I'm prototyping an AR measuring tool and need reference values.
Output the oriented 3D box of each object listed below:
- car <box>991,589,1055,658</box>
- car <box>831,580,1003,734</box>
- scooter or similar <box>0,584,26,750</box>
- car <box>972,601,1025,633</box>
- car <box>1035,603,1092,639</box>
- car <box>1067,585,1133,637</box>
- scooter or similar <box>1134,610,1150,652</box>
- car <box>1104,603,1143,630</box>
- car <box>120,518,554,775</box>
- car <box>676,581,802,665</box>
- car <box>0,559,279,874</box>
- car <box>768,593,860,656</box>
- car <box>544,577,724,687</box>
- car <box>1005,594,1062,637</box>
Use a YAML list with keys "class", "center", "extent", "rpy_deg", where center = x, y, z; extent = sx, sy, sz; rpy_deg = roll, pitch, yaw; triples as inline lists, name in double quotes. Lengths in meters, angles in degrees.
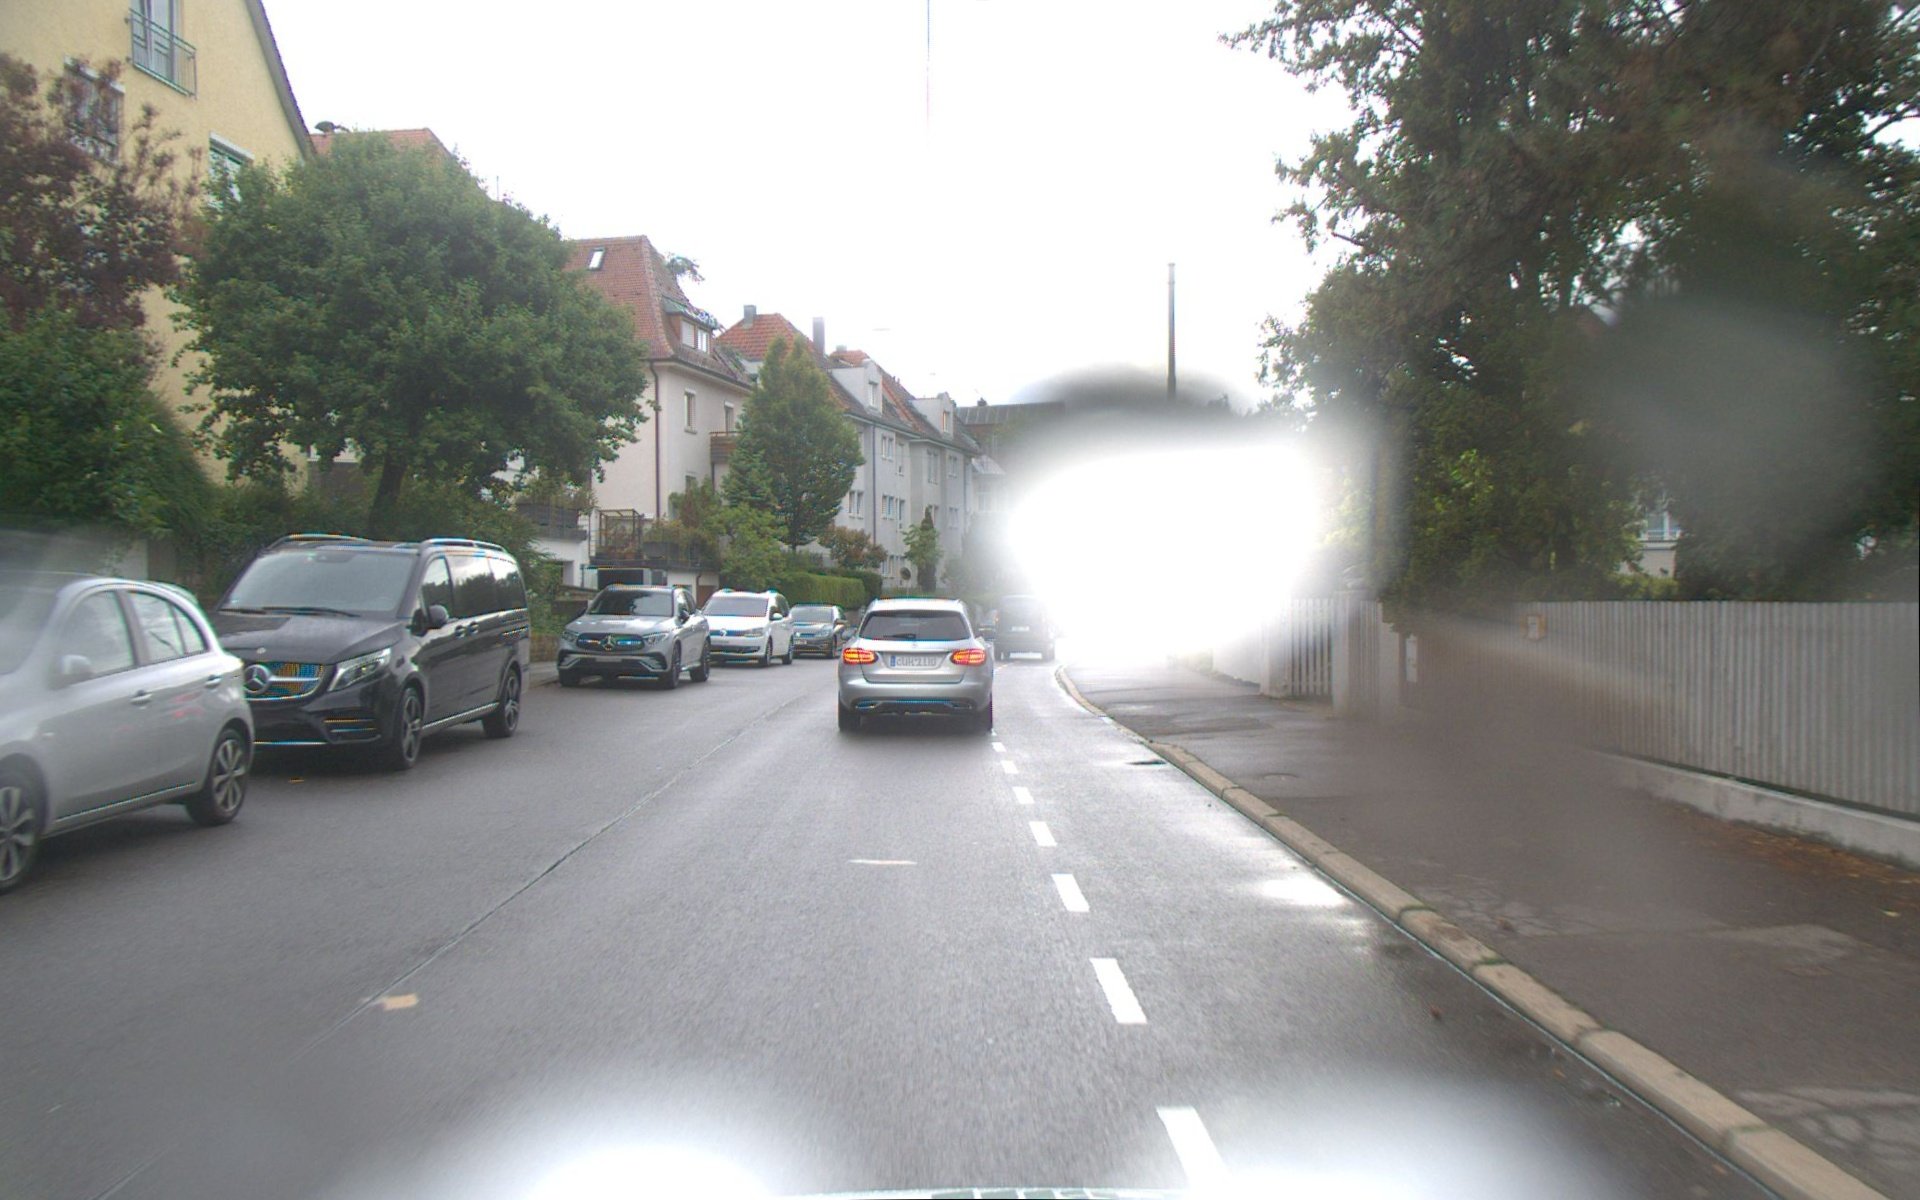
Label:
- class: "car"
  center: [1.913, 0.693, 49.195]
  extent: [1.804, 1.937, 4.001]
  rpy_deg: [1, -1, 3]
- class: "car"
  center: [-0.478, 0.584, 19.437]
  extent: [1.779, 1.584, 3.999]
  rpy_deg: [1, 0, -1]
- class: "scooter or similar"
  center: [-7.656, 0.543, 12.187]
  extent: [0.490, 1.277, 1.918]
  rpy_deg: [1, 2, -1]
- class: "car"
  center: [1.852, 0.781, 78.349]
  extent: [1.608, 1.442, 4.616]
  rpy_deg: [1, 0, 13]
- class: "car"
  center: [5.688, 1.129, 90.527]
  extent: [1.952, 1.717, 4.679]
  rpy_deg: [1, 2, 19]
- class: "car"
  center: [8.332, 0.588, 97.854]
  extent: [2.341, 2.820, 6.535]
  rpy_deg: [1, 1, 19]
- class: "scooter or similar"
  center: [5.801, 0.986, 52.658]
  extent: [0.440, 1.330, 1.483]
  rpy_deg: [-1, -1, 8]
- class: "car"
  center: [10.178, 1.017, 102.975]
  extent: [1.677, 1.472, 3.256]
  rpy_deg: [1, 2, 19]
- class: "car"
  center: [-5.414, 0.340, 15.300]
  extent: [1.953, 1.911, 5.356]
  rpy_deg: [1, 0, 0]
- class: "car"
  center: [-5.018, 0.495, 38.191]
  extent: [1.952, 1.732, 4.740]
  rpy_deg: [3, 0, 3]
- class: "car"
  center: [-5.330, 0.538, 9.056]
  extent: [1.660, 1.472, 3.813]
  rpy_deg: [0, 0, -1]
- class: "car"
  center: [-4.068, 0.654, 46.575]
  extent: [1.754, 1.608, 4.141]
  rpy_deg: [3, 0, 6]
- class: "car"
  center: [-5.407, 0.487, 28.084]
  extent: [1.952, 1.608, 4.762]
  rpy_deg: [3, 0, 1]
- class: "car"
  center: [3.775, 0.792, 83.881]
  extent: [1.790, 2.092, 5.013]
  rpy_deg: [1, 0, 16]
